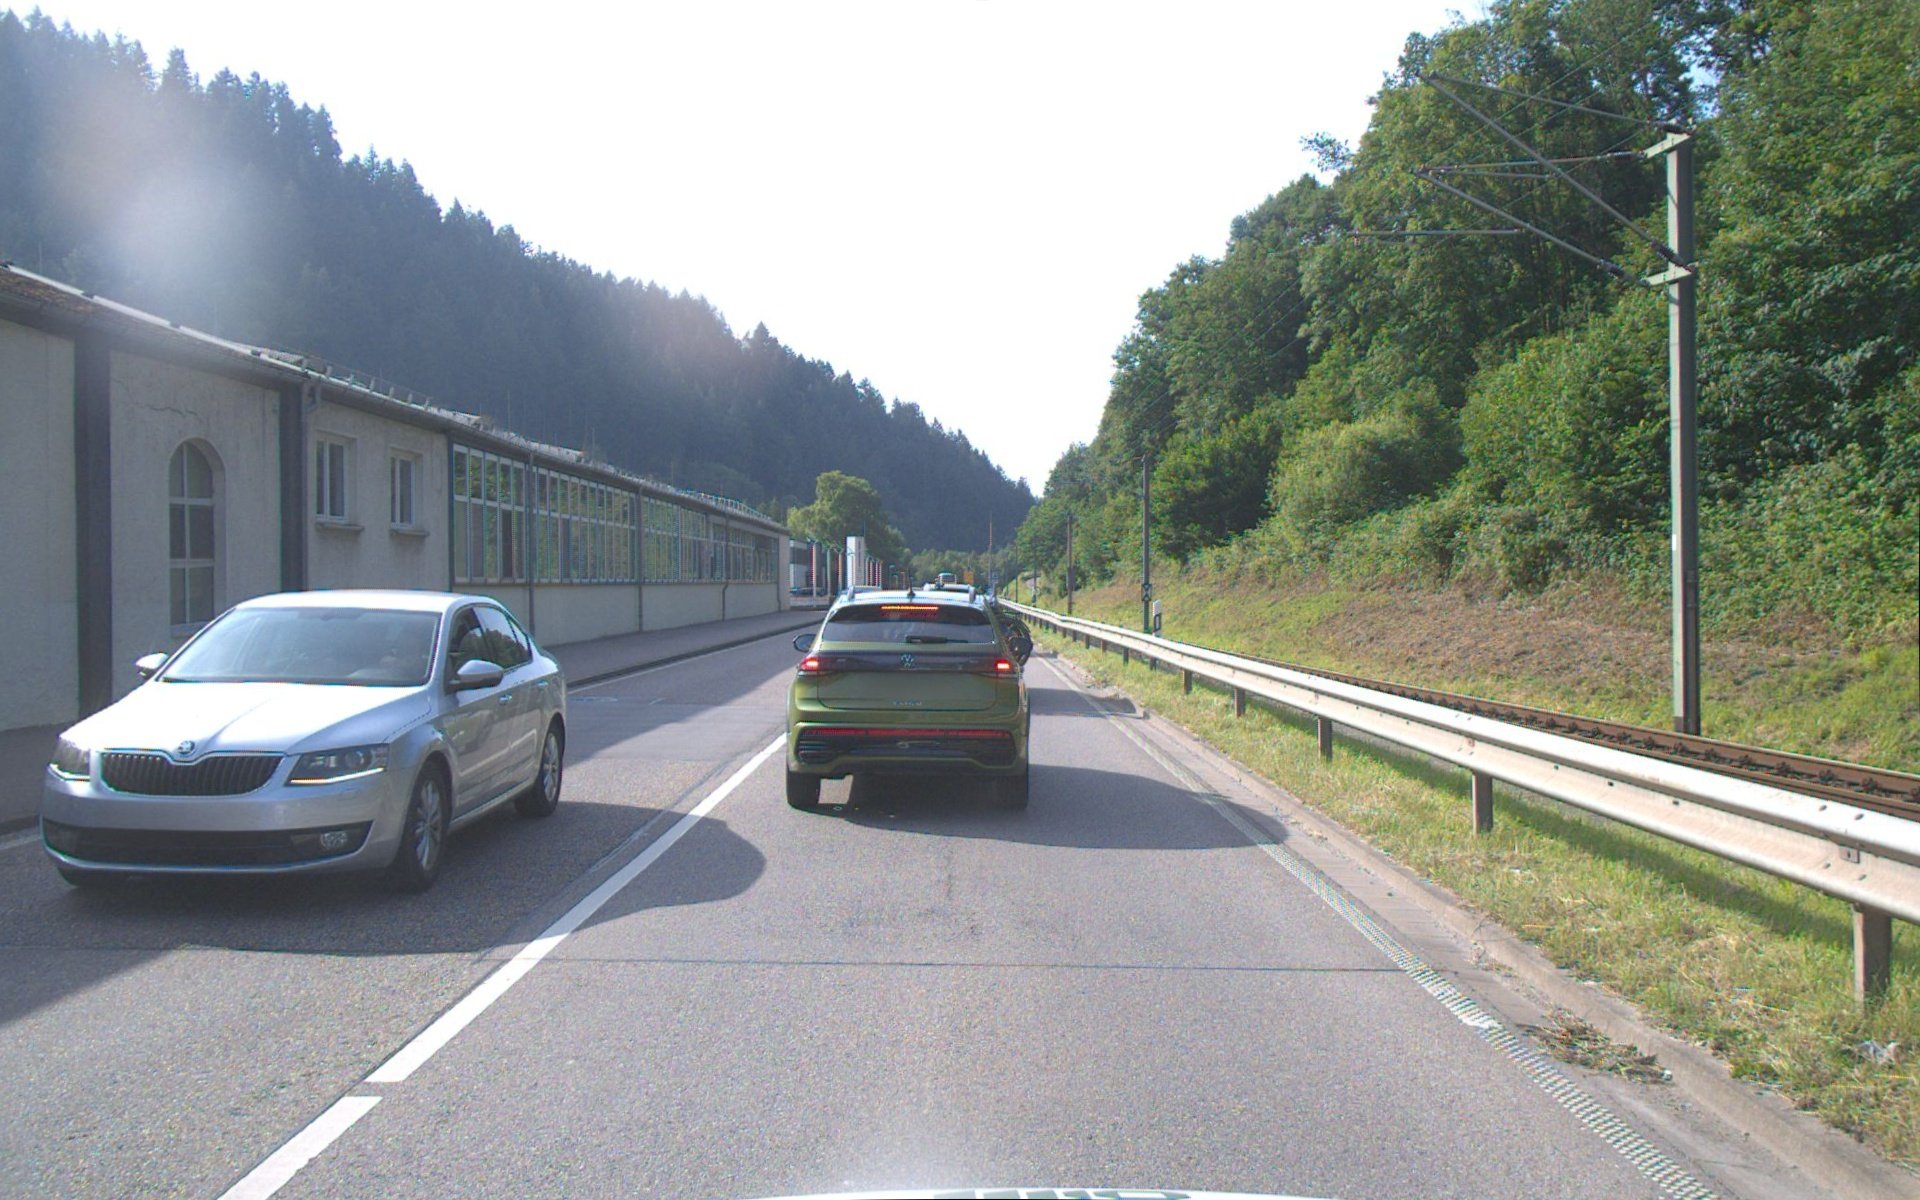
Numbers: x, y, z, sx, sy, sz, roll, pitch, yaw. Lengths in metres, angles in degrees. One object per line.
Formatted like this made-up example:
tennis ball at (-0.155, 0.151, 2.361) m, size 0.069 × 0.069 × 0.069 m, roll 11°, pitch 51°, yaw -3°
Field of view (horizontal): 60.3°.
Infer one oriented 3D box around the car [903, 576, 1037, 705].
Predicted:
car at (0.086, 0.496, 23.061) m, size 1.704 × 1.630 × 3.999 m, roll 0°, pitch 0°, yaw -1°

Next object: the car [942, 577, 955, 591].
car at (-1.733, -2.350, 251.160) m, size 1.953 × 2.049 × 3.999 m, roll 1°, pitch 0°, yaw -1°

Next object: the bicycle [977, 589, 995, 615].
bicycle at (1.269, 0.094, 81.908) m, size 0.795 × 1.272 × 2.122 m, roll 0°, pitch 0°, yaw -2°

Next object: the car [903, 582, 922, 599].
car at (-4.369, -0.863, 152.085) m, size 1.684 × 1.540 × 4.198 m, roll 1°, pitch 1°, yaw -1°

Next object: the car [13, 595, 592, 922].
car at (-3.365, 0.697, 9.380) m, size 1.704 × 1.417 × 4.108 m, roll 0°, pitch 0°, yaw -1°

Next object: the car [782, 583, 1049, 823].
car at (-0.327, 0.644, 12.603) m, size 1.704 × 1.534 × 3.999 m, roll 0°, pitch 0°, yaw -1°

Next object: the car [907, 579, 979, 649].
car at (-0.444, 0.307, 40.989) m, size 1.704 × 1.630 × 3.999 m, roll 0°, pitch 0°, yaw -1°

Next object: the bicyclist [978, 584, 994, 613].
bicyclist at (1.281, -0.071, 81.922) m, size 0.766 × 1.436 × 0.675 m, roll 0°, pitch 0°, yaw -3°

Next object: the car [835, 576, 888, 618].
car at (-3.993, -0.127, 67.653) m, size 1.890 × 1.609 × 4.457 m, roll 2°, pitch 0°, yaw 0°
